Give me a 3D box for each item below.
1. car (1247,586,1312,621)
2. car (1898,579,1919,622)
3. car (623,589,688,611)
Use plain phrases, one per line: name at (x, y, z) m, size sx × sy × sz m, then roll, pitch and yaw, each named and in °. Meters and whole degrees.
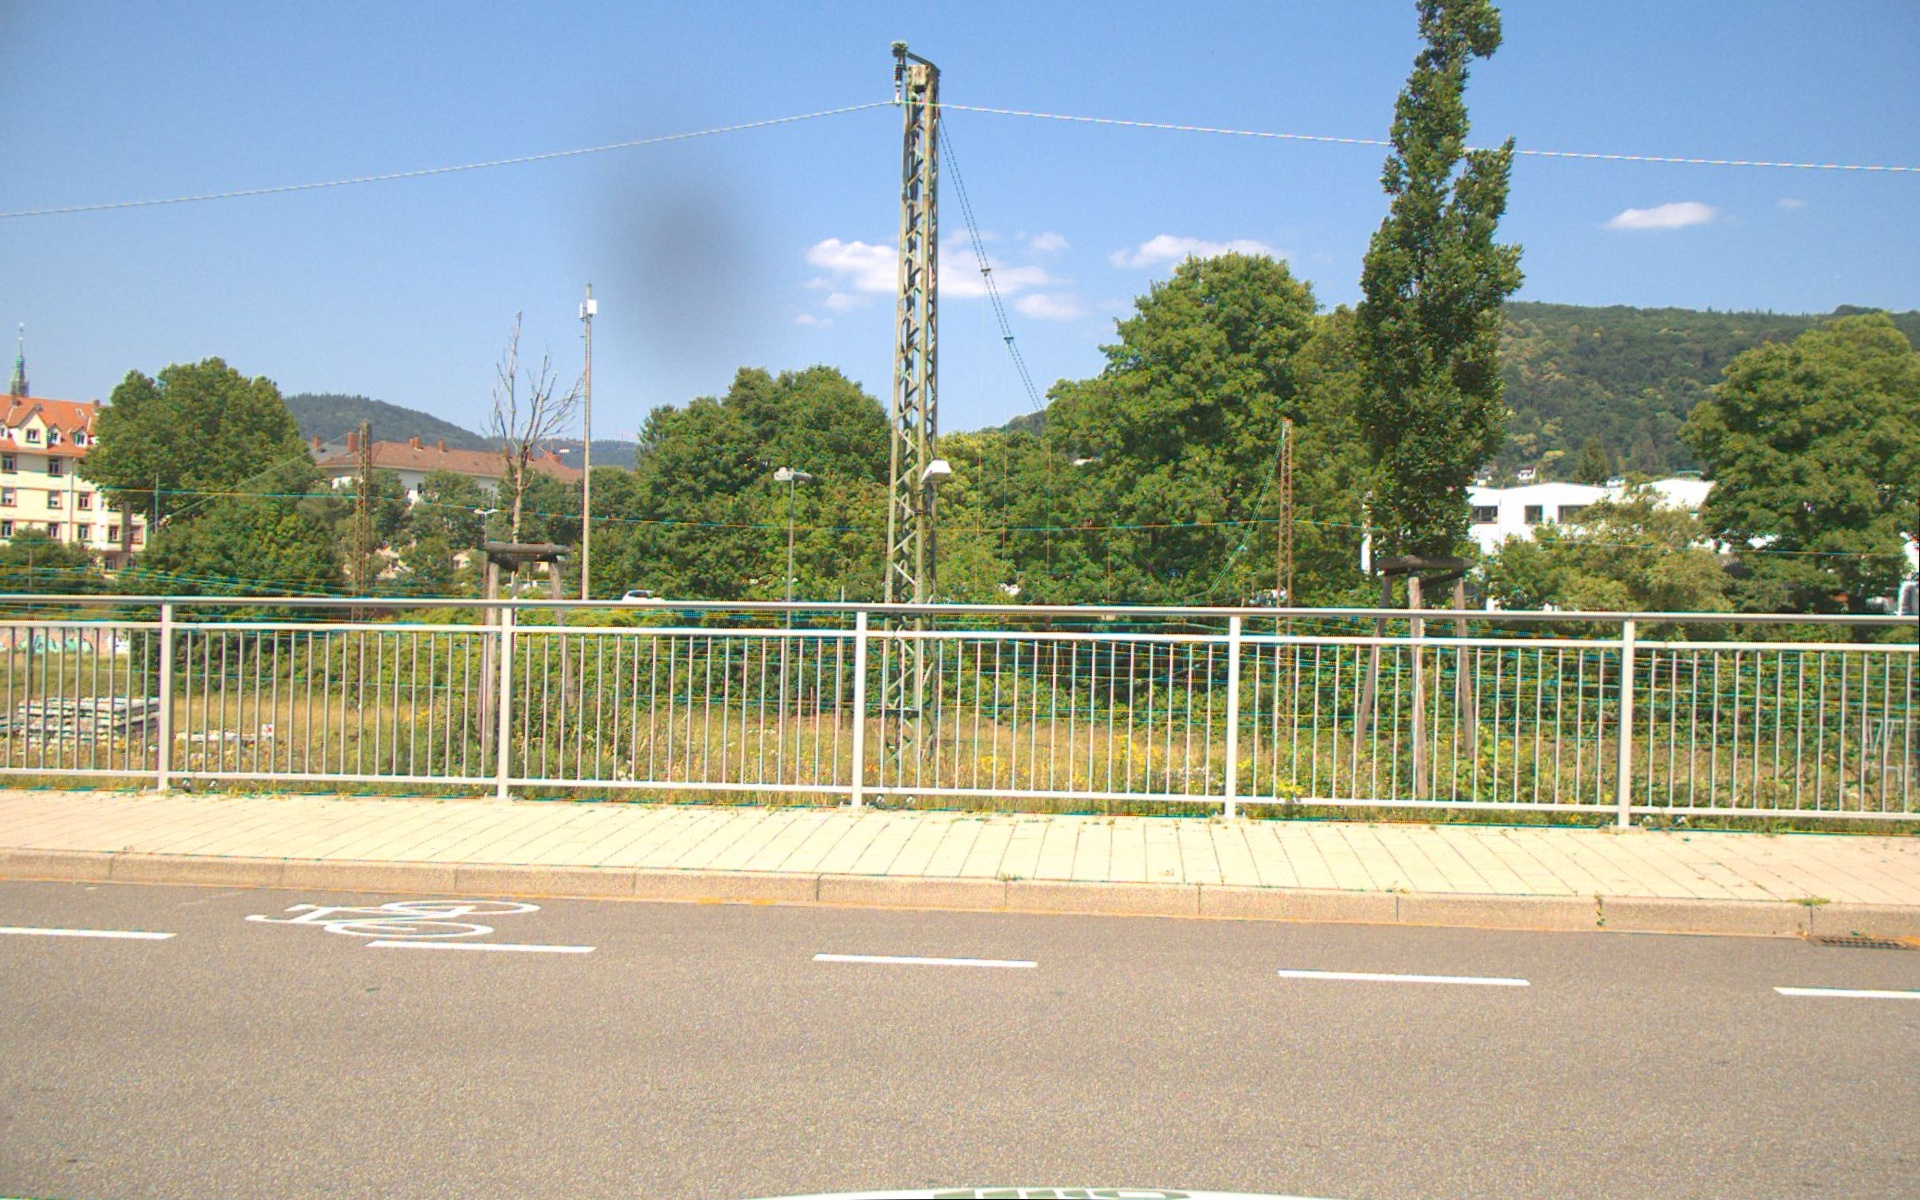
car at (20.674, 0.233, 107.168) m, size 3.842 × 2.049 × 1.754 m, roll -1°, pitch -4°, yaw 23°
car at (53.186, 0.021, 87.929) m, size 5.384 × 2.140 × 2.136 m, roll -1°, pitch -5°, yaw 17°
car at (-20.369, -0.017, 110.526) m, size 4.228 × 1.391 × 1.859 m, roll 1°, pitch 0°, yaw 35°
